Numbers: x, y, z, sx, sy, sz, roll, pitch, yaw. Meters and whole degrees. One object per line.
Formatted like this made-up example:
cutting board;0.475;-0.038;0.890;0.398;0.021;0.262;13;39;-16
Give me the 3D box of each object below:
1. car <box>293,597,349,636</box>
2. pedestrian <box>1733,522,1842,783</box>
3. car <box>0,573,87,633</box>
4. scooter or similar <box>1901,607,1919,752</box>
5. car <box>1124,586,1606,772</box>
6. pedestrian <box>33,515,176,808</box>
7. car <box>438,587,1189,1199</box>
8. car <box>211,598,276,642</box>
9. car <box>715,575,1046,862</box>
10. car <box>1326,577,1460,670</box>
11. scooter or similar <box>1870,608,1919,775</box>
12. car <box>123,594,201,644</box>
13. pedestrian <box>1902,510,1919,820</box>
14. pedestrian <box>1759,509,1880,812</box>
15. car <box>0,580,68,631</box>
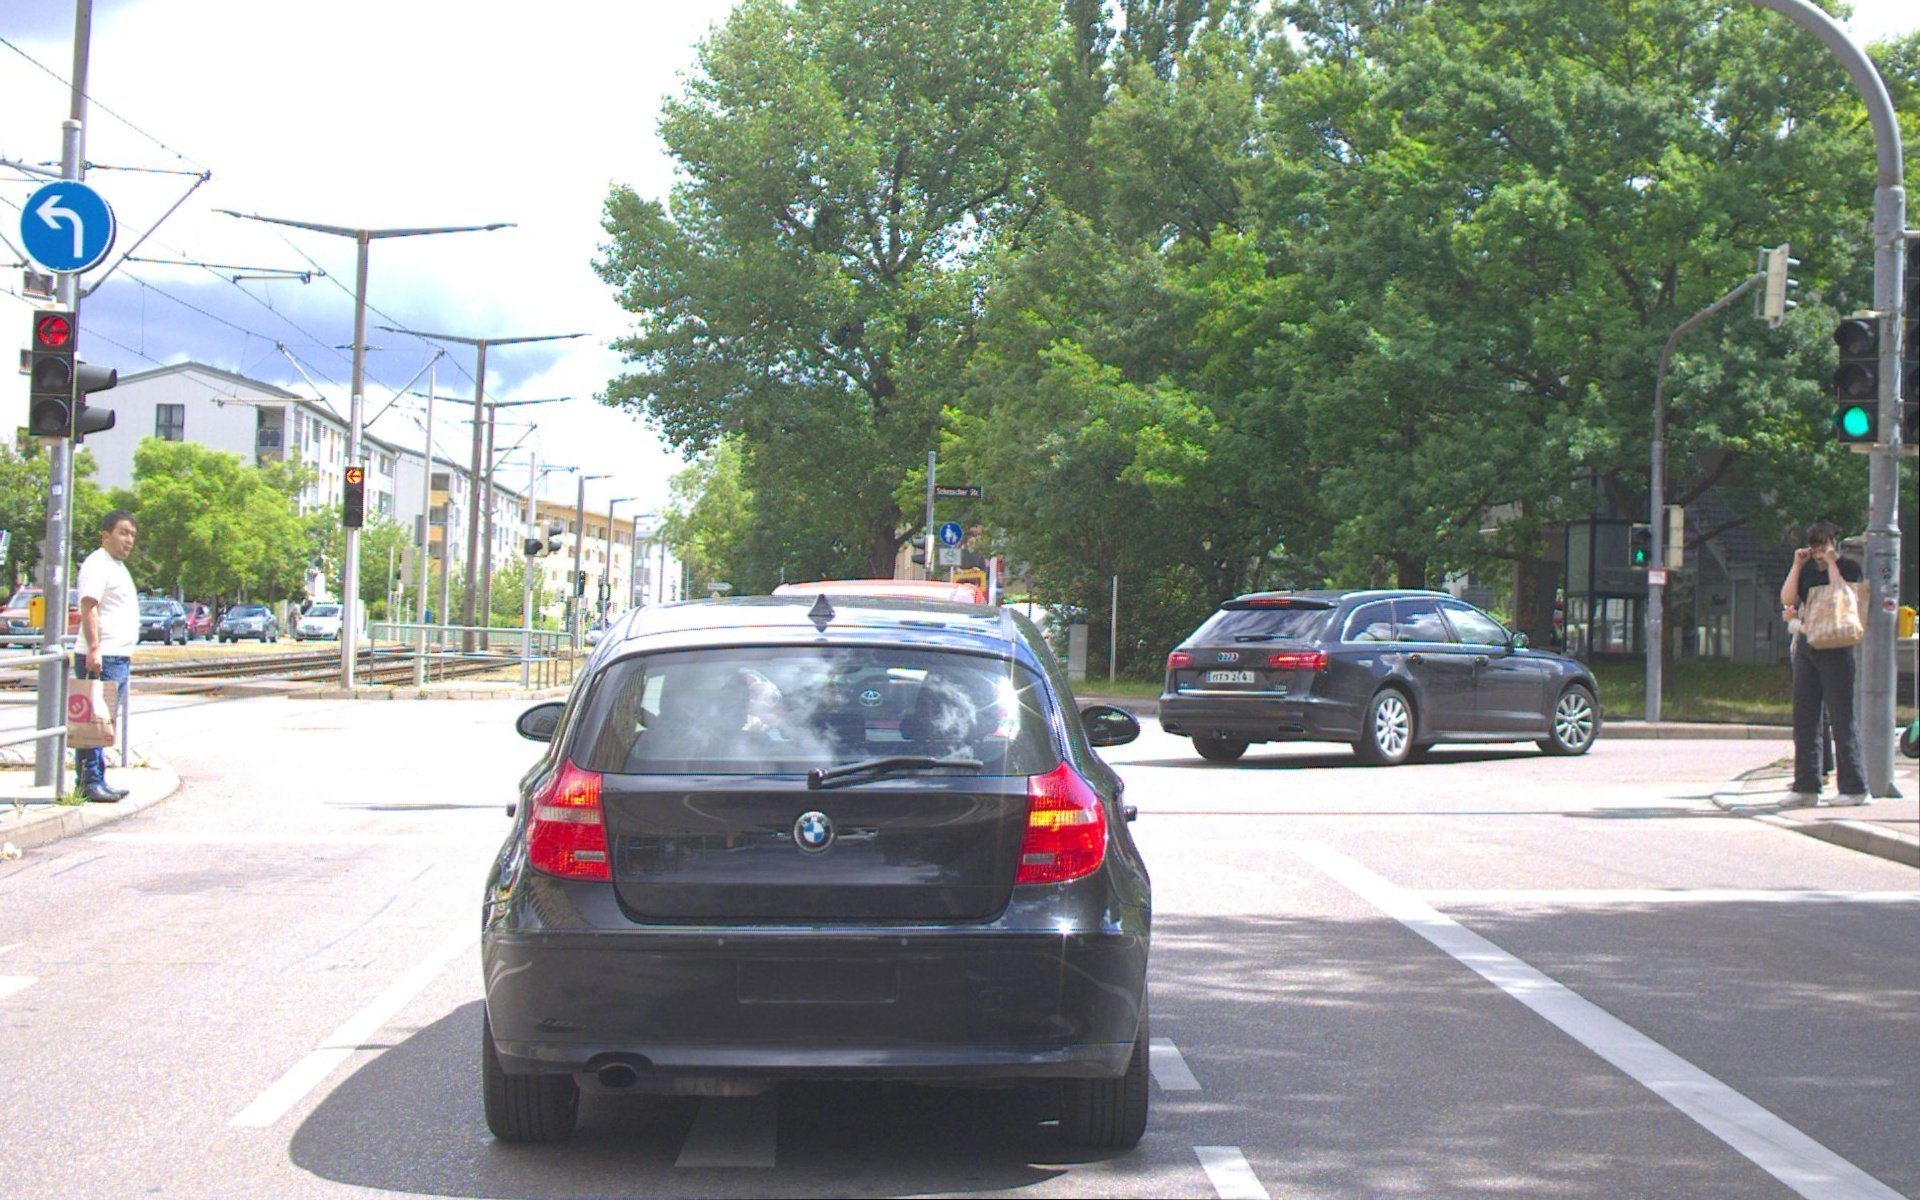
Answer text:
car;-26.234;0.679;141.301;1.651;1.529;3.872;1;0;-2
pedestrian;5.678;0.350;23.605;0.636;1.760;0.518;1;1;6
car;-24.481;0.070;91.398;1.651;1.529;3.872;1;0;-2
scooter or similar;8.124;0.643;27.698;0.942;1.153;0.458;1;0;2
car;3.524;0.619;29.246;1.905;1.417;4.528;2;1;40
pedestrian;-5.137;0.364;20.673;0.687;1.728;0.687;0;0;0
car;-0.345;0.692;9.603;1.700;1.395;3.420;1;1;0
car;-26.421;0.728;126.895;1.651;1.529;3.872;1;0;-2
car;-0.407;0.582;18.944;1.638;1.395;3.420;1;1;0
car;9.132;0.469;72.720;1.726;1.865;4.001;1;0;-9
scooter or similar;7.471;0.693;25.838;1.110;1.231;0.539;1;0;2
car;-25.322;0.588;109.211;1.651;1.529;3.872;1;0;-2
pedestrian;6.191;0.399;20.560;0.795;1.870;1.013;1;0;-1
pedestrian;5.397;0.373;21.601;0.636;1.870;0.518;1;1;6
car;-28.547;0.149;105.102;1.591;1.469;3.775;1;0;-1
